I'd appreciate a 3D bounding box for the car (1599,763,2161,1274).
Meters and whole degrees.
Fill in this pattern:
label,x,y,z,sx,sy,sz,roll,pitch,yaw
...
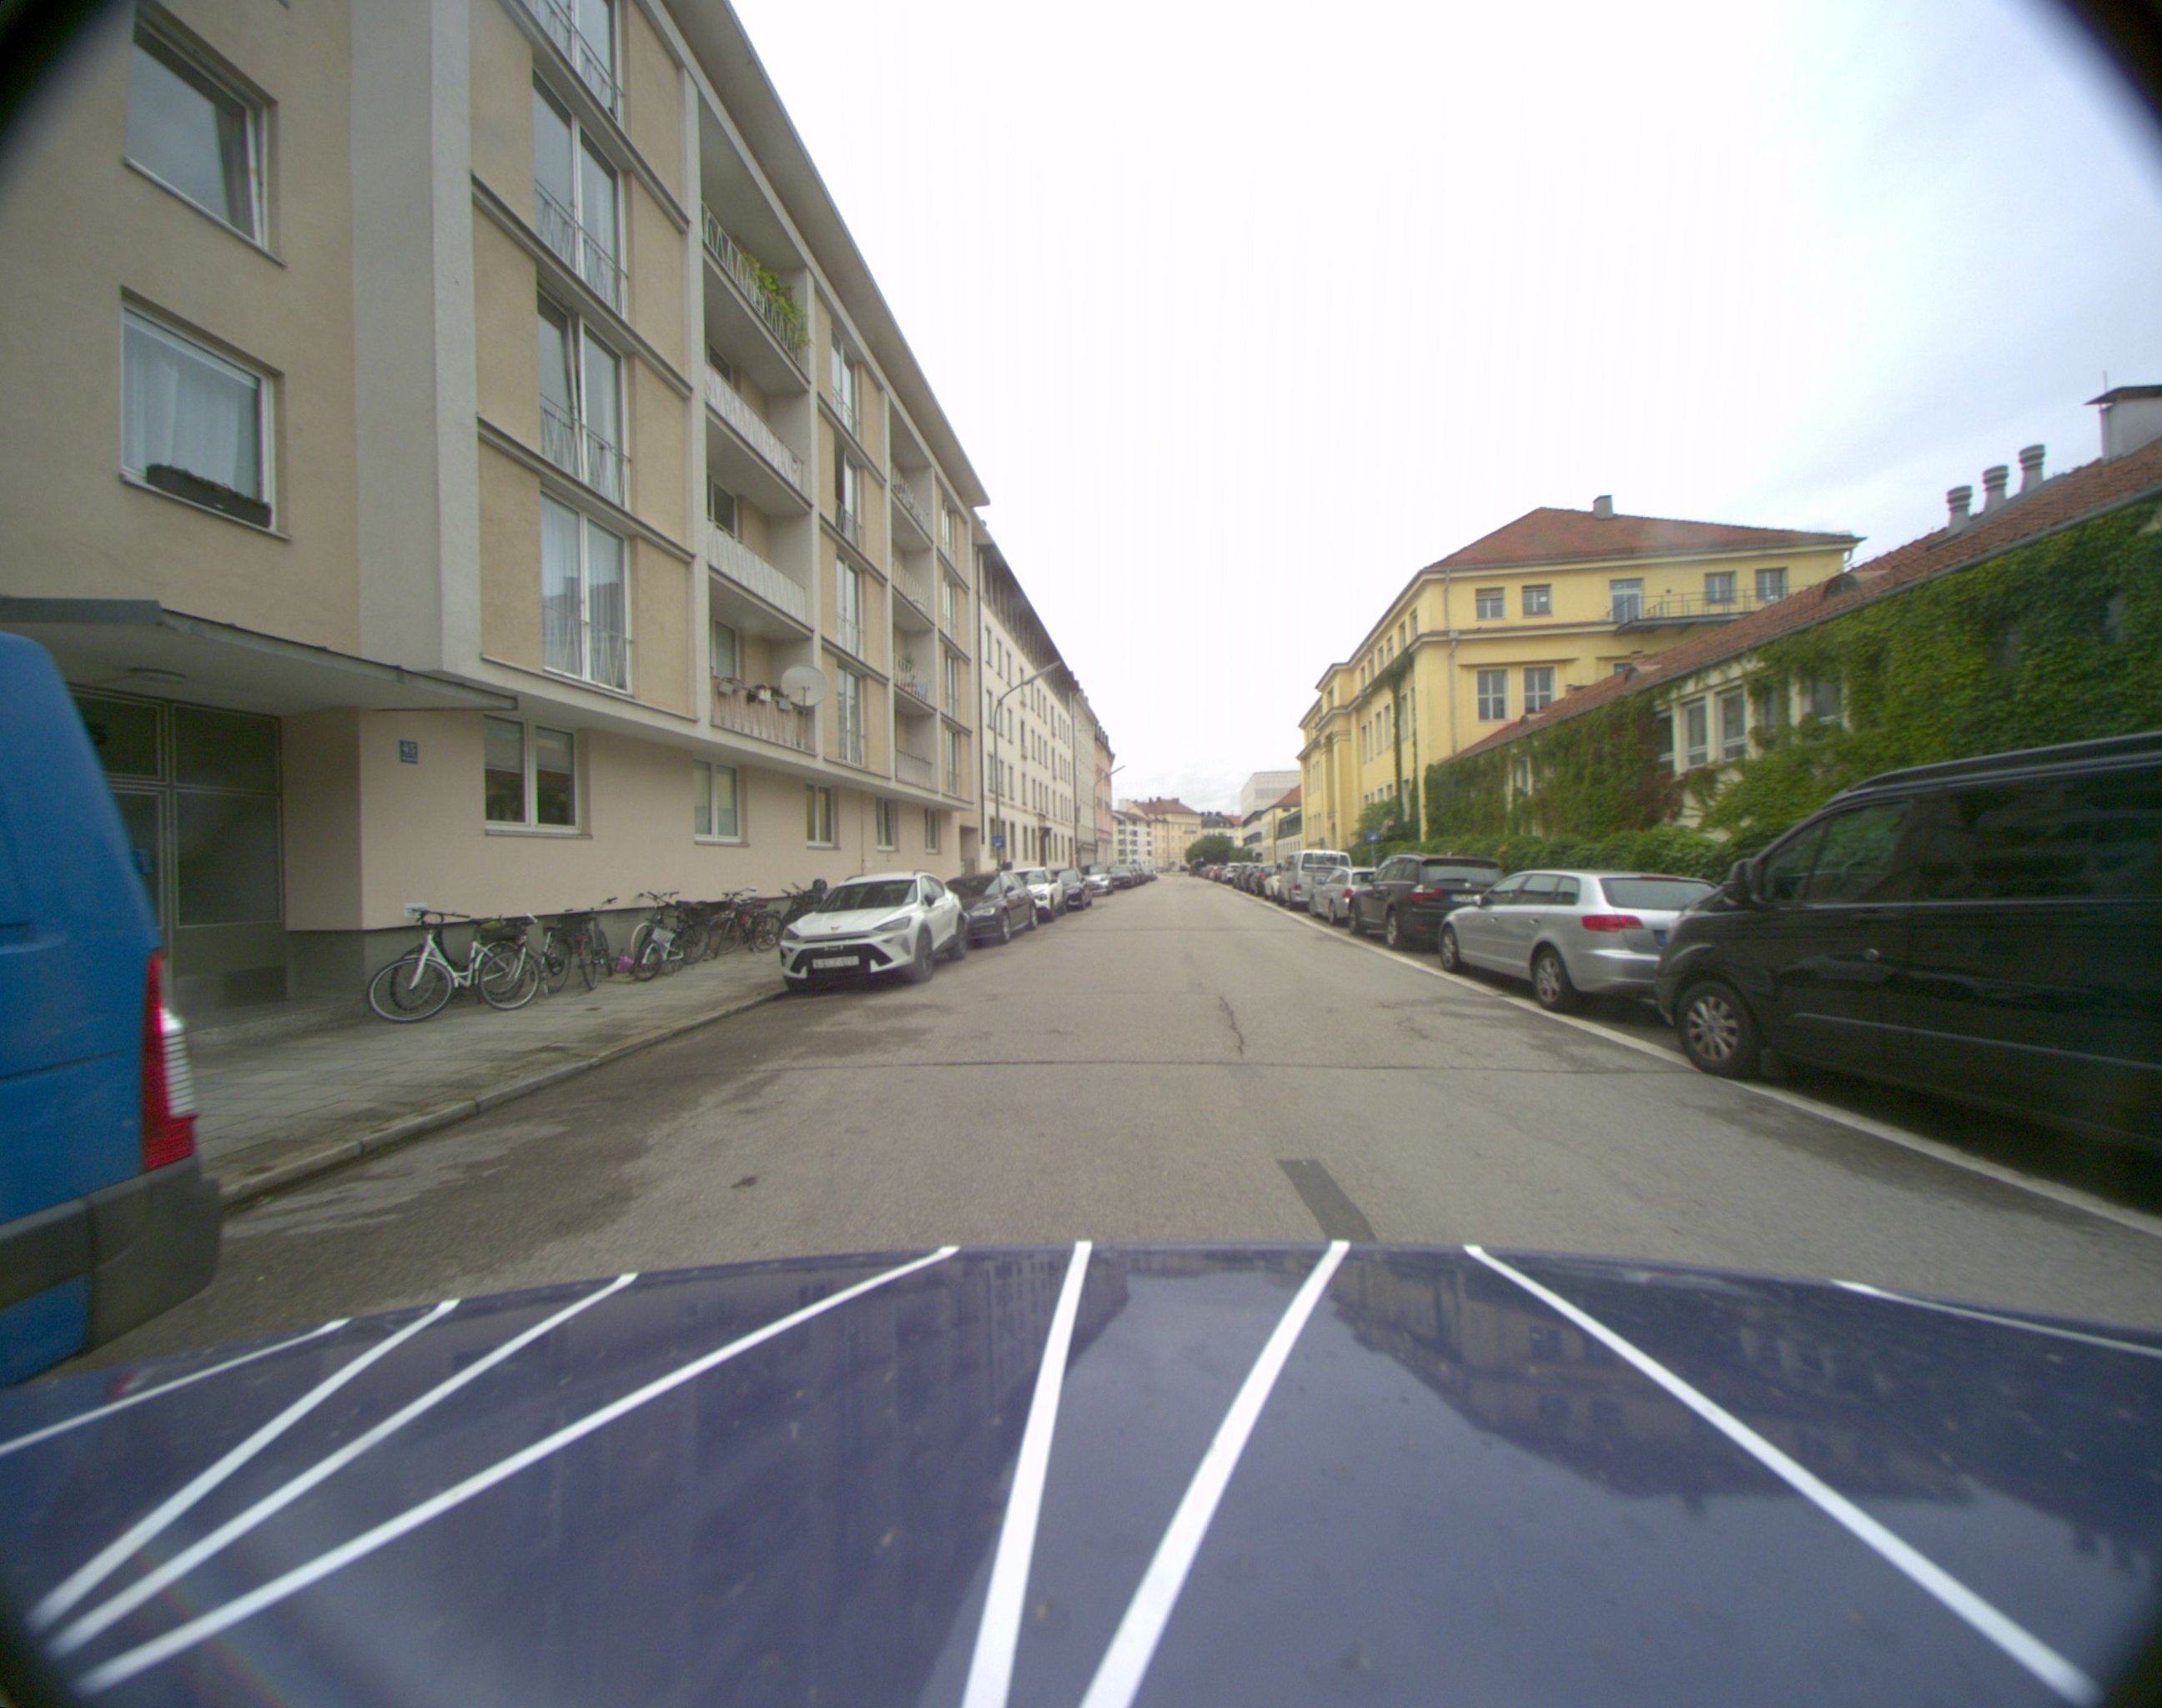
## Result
label,x,y,z,sx,sy,sz,roll,pitch,yaw
car,5.201,0.634,3.522,2.078,1.952,5.350,1,0,2

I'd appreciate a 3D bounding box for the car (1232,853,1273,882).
label,x,y,z,sx,sy,sz,roll,pitch,yaw
car,10.081,0.745,44.944,1.793,1.577,4.820,1,0,6

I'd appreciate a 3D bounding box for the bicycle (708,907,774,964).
label,x,y,z,sx,sy,sz,roll,pitch,yaw
bicycle,-6.175,1.459,13.853,0.378,0.899,1.393,-2,0,8

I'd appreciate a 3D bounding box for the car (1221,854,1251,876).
label,x,y,z,sx,sy,sz,roll,pitch,yaw
car,11.874,0.800,58.460,1.749,1.624,4.858,0,0,5

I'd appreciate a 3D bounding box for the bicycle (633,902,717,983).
label,x,y,z,sx,sy,sz,roll,pitch,yaw
bicycle,-6.379,1.360,12.011,0.378,1.113,1.393,-2,0,8

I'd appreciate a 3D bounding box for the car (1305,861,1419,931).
label,x,y,z,sx,sy,sz,roll,pitch,yaw
car,6.827,0.935,18.945,1.656,1.406,4.774,2,0,8

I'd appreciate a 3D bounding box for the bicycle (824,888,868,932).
label,x,y,z,sx,sy,sz,roll,pitch,yaw
bicycle,-5.381,1.273,17.475,0.378,0.899,1.393,0,0,8

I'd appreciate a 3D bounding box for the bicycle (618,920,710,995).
label,x,y,z,sx,sy,sz,roll,pitch,yaw
bicycle,-6.037,1.472,11.065,0.378,0.899,1.393,-2,0,8

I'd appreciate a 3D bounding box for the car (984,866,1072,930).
label,x,y,z,sx,sy,sz,roll,pitch,yaw
car,-1.384,1.155,21.689,1.698,1.480,4.582,-4,0,6

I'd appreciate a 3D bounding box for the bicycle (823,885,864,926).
label,x,y,z,sx,sy,sz,roll,pitch,yaw
bicycle,-5.809,1.242,18.637,0.378,0.899,1.393,-2,0,8

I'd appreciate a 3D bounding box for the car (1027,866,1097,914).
label,x,y,z,sx,sy,sz,roll,pitch,yaw
car,-0.551,1.178,26.567,1.749,1.380,4.956,-3,0,6

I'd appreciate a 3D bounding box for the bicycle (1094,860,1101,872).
label,x,y,z,sx,sy,sz,roll,pitch,yaw
bicycle,1.614,1.149,73.650,0.396,1.169,1.816,-2,0,7

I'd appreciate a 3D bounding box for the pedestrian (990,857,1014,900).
label,x,y,z,sx,sy,sz,roll,pitch,yaw
pedestrian,-3.342,1.026,32.288,0.724,1.754,0.905,-2,3,9

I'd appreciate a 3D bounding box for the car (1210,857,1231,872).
label,x,y,z,sx,sy,sz,roll,pitch,yaw
car,14.828,1.109,81.173,1.797,1.421,4.667,2,0,6

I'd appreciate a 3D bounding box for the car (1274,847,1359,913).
label,x,y,z,sx,sy,sz,roll,pitch,yaw
car,7.436,0.740,24.460,1.890,1.878,4.777,1,0,9

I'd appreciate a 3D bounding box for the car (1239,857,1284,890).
label,x,y,z,sx,sy,sz,roll,pitch,yaw
car,9.391,0.981,39.883,1.727,1.620,4.468,1,0,6

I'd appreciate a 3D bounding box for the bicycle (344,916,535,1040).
label,x,y,z,sx,sy,sz,roll,pitch,yaw
bicycle,-7.248,1.352,8.716,0.456,1.104,1.855,-2,0,5

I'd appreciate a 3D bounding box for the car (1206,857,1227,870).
label,x,y,z,sx,sy,sz,roll,pitch,yaw
car,15.430,1.071,86.837,1.962,1.473,4.531,1,0,5

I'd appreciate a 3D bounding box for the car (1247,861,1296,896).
label,x,y,z,sx,sy,sz,roll,pitch,yaw
car,8.739,1.095,35.101,1.606,1.422,4.254,2,0,7

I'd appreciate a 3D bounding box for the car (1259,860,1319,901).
label,x,y,z,sx,sy,sz,roll,pitch,yaw
car,8.105,0.985,29.880,1.594,1.433,4.021,1,0,6

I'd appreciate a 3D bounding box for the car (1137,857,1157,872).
label,x,y,z,sx,sy,sz,roll,pitch,yaw
car,6.741,1.064,77.481,1.690,1.393,4.367,-2,0,9

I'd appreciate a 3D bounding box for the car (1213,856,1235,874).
label,x,y,z,sx,sy,sz,roll,pitch,yaw
car,12.883,0.973,68.498,1.702,1.488,4.151,2,0,8

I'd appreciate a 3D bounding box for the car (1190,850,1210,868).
label,x,y,z,sx,sy,sz,roll,pitch,yaw
car,19.178,0.778,122.963,2.218,2.837,6.197,1,0,0

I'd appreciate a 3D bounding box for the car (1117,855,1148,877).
label,x,y,z,sx,sy,sz,roll,pitch,yaw
car,3.967,0.889,57.482,1.843,1.513,4.712,-3,0,9

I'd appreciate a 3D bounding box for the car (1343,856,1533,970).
label,x,y,z,sx,sy,sz,roll,pitch,yaw
car,6.110,0.886,13.634,1.700,1.633,4.492,1,0,7

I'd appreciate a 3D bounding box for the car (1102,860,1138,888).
label,x,y,z,sx,sy,sz,roll,pitch,yaw
car,2.490,1.205,47.463,1.806,1.475,5.323,-4,-1,7

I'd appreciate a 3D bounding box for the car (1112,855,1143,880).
label,x,y,z,sx,sy,sz,roll,pitch,yaw
car,3.266,0.891,52.661,1.648,1.580,4.637,-4,-1,8

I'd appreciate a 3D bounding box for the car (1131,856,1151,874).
label,x,y,z,sx,sy,sz,roll,pitch,yaw
car,5.570,1.035,70.908,1.710,1.583,4.364,-3,-1,5

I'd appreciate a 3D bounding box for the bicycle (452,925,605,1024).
label,x,y,z,sx,sy,sz,roll,pitch,yaw
bicycle,-6.646,1.414,9.259,0.456,0.918,1.736,-2,0,5

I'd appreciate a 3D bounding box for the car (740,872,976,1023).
label,x,y,z,sx,sy,sz,roll,pitch,yaw
car,-2.884,1.130,11.039,1.789,1.524,4.649,-5,0,2

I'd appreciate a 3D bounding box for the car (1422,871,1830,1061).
label,x,y,z,sx,sy,sz,roll,pitch,yaw
car,5.528,0.975,8.581,1.698,1.385,4.503,3,0,6

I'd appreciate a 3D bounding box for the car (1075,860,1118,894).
label,x,y,z,sx,sy,sz,roll,pitch,yaw
car,0.806,1.103,37.284,1.653,1.486,2.883,-4,0,8

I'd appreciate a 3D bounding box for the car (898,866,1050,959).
label,x,y,z,sx,sy,sz,roll,pitch,yaw
car,-2.110,1.140,16.704,1.883,1.513,5.166,-5,-1,8
